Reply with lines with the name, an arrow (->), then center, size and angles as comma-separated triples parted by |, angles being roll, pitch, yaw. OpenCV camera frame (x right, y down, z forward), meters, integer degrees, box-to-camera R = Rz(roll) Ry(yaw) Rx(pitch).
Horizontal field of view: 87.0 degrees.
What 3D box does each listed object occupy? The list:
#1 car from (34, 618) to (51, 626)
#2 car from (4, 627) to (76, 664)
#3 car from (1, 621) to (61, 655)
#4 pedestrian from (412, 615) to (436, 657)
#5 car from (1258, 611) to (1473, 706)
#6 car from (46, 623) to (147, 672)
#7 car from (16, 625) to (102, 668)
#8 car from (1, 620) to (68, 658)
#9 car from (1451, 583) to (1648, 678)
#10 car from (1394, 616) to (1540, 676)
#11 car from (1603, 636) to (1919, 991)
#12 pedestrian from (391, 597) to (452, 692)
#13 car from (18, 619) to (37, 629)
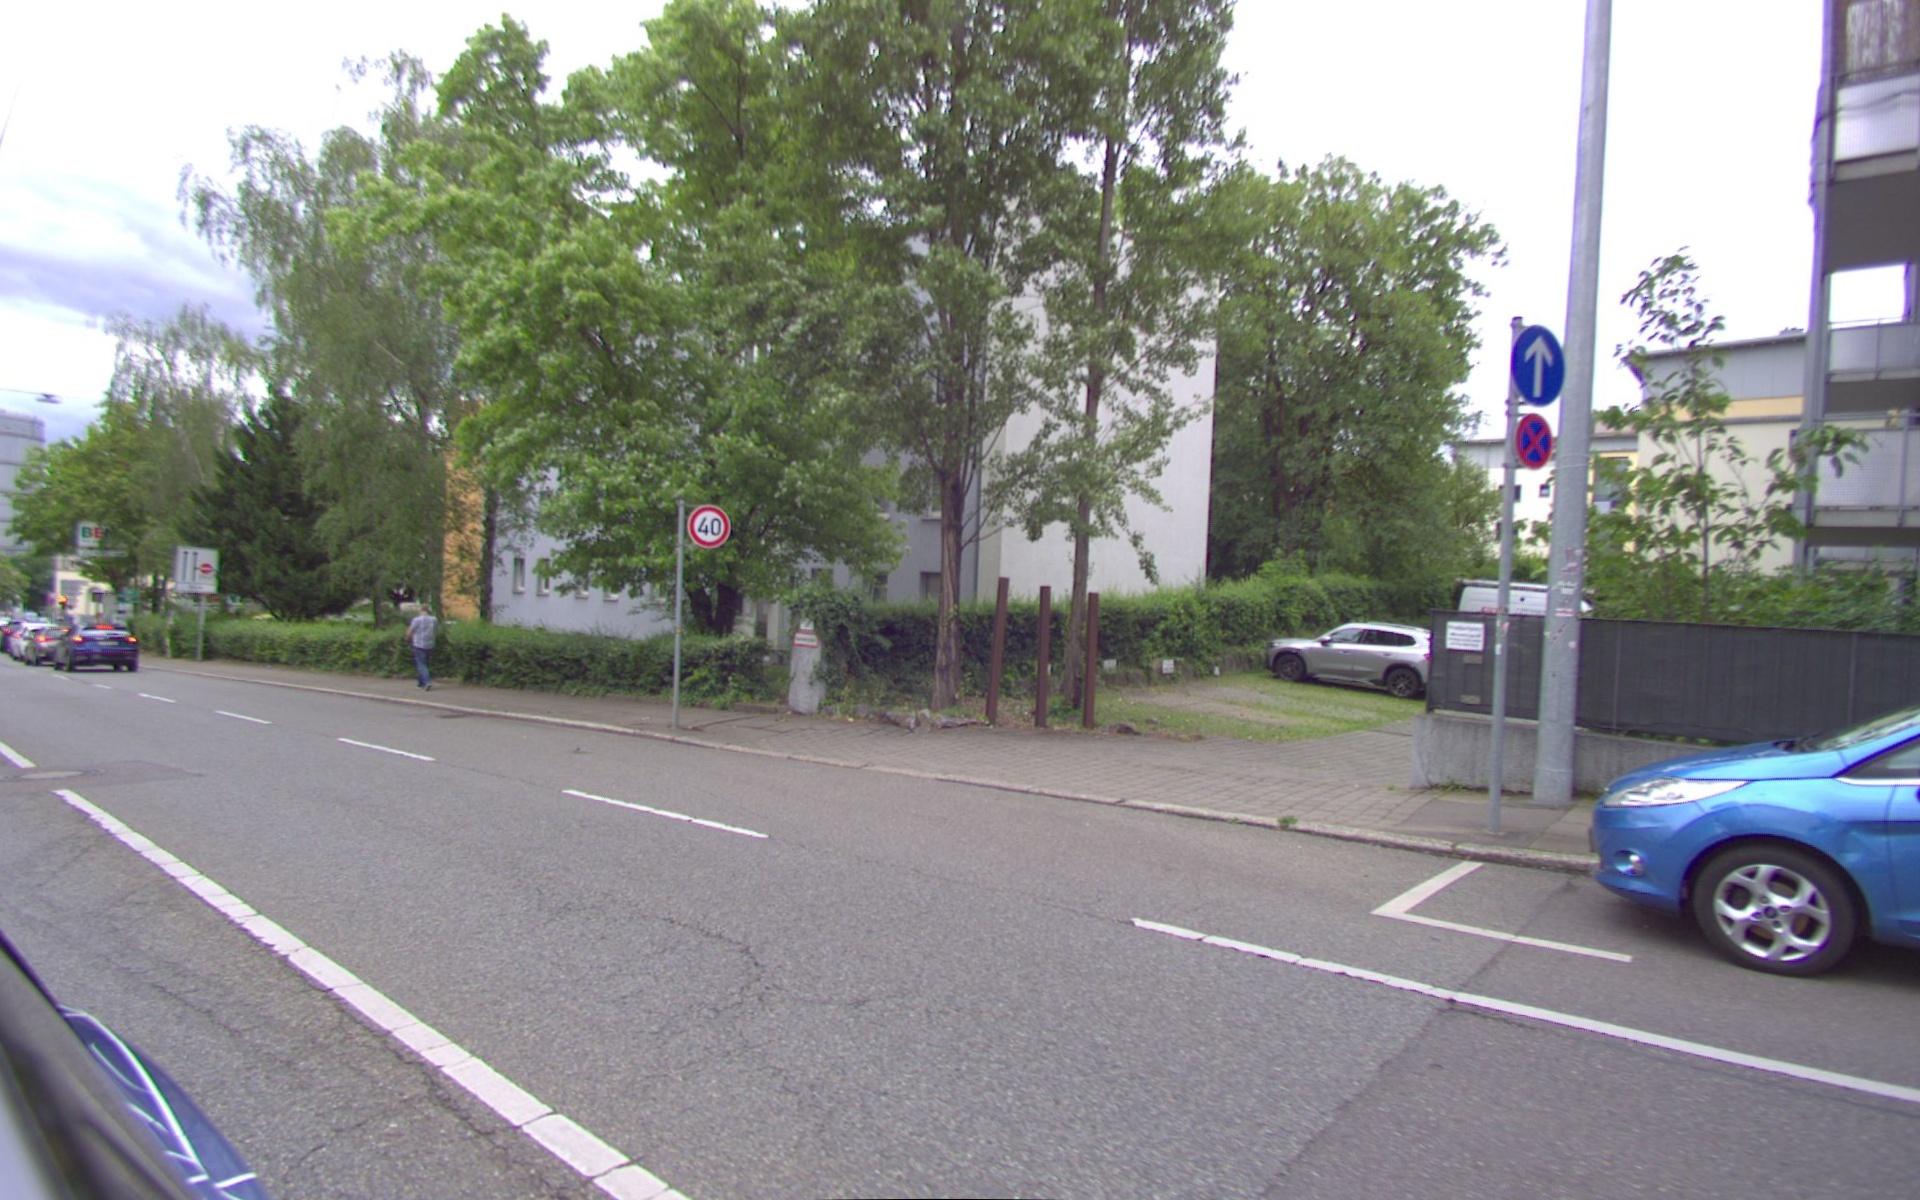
car -> -175.066, 4.181, 193.089 | 1.967, 1.612, 4.009 | -1, -1, -36
car -> -38.278, 1.870, 42.075 | 4.073, 1.423, 1.819 | -1, -4, 43
car -> -47.428, 1.932, 51.639 | 4.415, 1.655, 1.929 | -1, -4, 44
pedestrian -> -23.039, 1.548, 43.512 | 0.714, 1.768, 0.794 | 1, -6, -44
car -> 9.848, 1.332, 24.740 | 4.418, 1.740, 1.974 | 5, 4, 38
car -> -27.434, 1.469, 32.112 | 4.309, 1.459, 1.819 | -1, -3, 42
car -> -33.162, 1.690, 37.215 | 4.309, 1.459, 1.819 | -1, -3, 42
car -> -42.770, 1.784, 46.744 | 4.499, 1.606, 1.929 | -1, -4, 44
car -> 21.581, 0.987, 37.207 | 5.788, 2.900, 2.386 | 5, 4, 40
car -> 16.878, 1.472, 33.800 | 3.983, 1.527, 1.813 | 5, 4, 41
car -> 5.132, 0.889, 4.165 | 3.987, 1.435, 1.696 | -2, -4, 41
pedestrian -> -11.665, 0.948, 21.920 | 0.867, 1.964, 0.873 | -2, 0, 41
car -> -162.759, 4.175, 176.589 | 1.967, 1.612, 4.009 | -1, -1, -36
